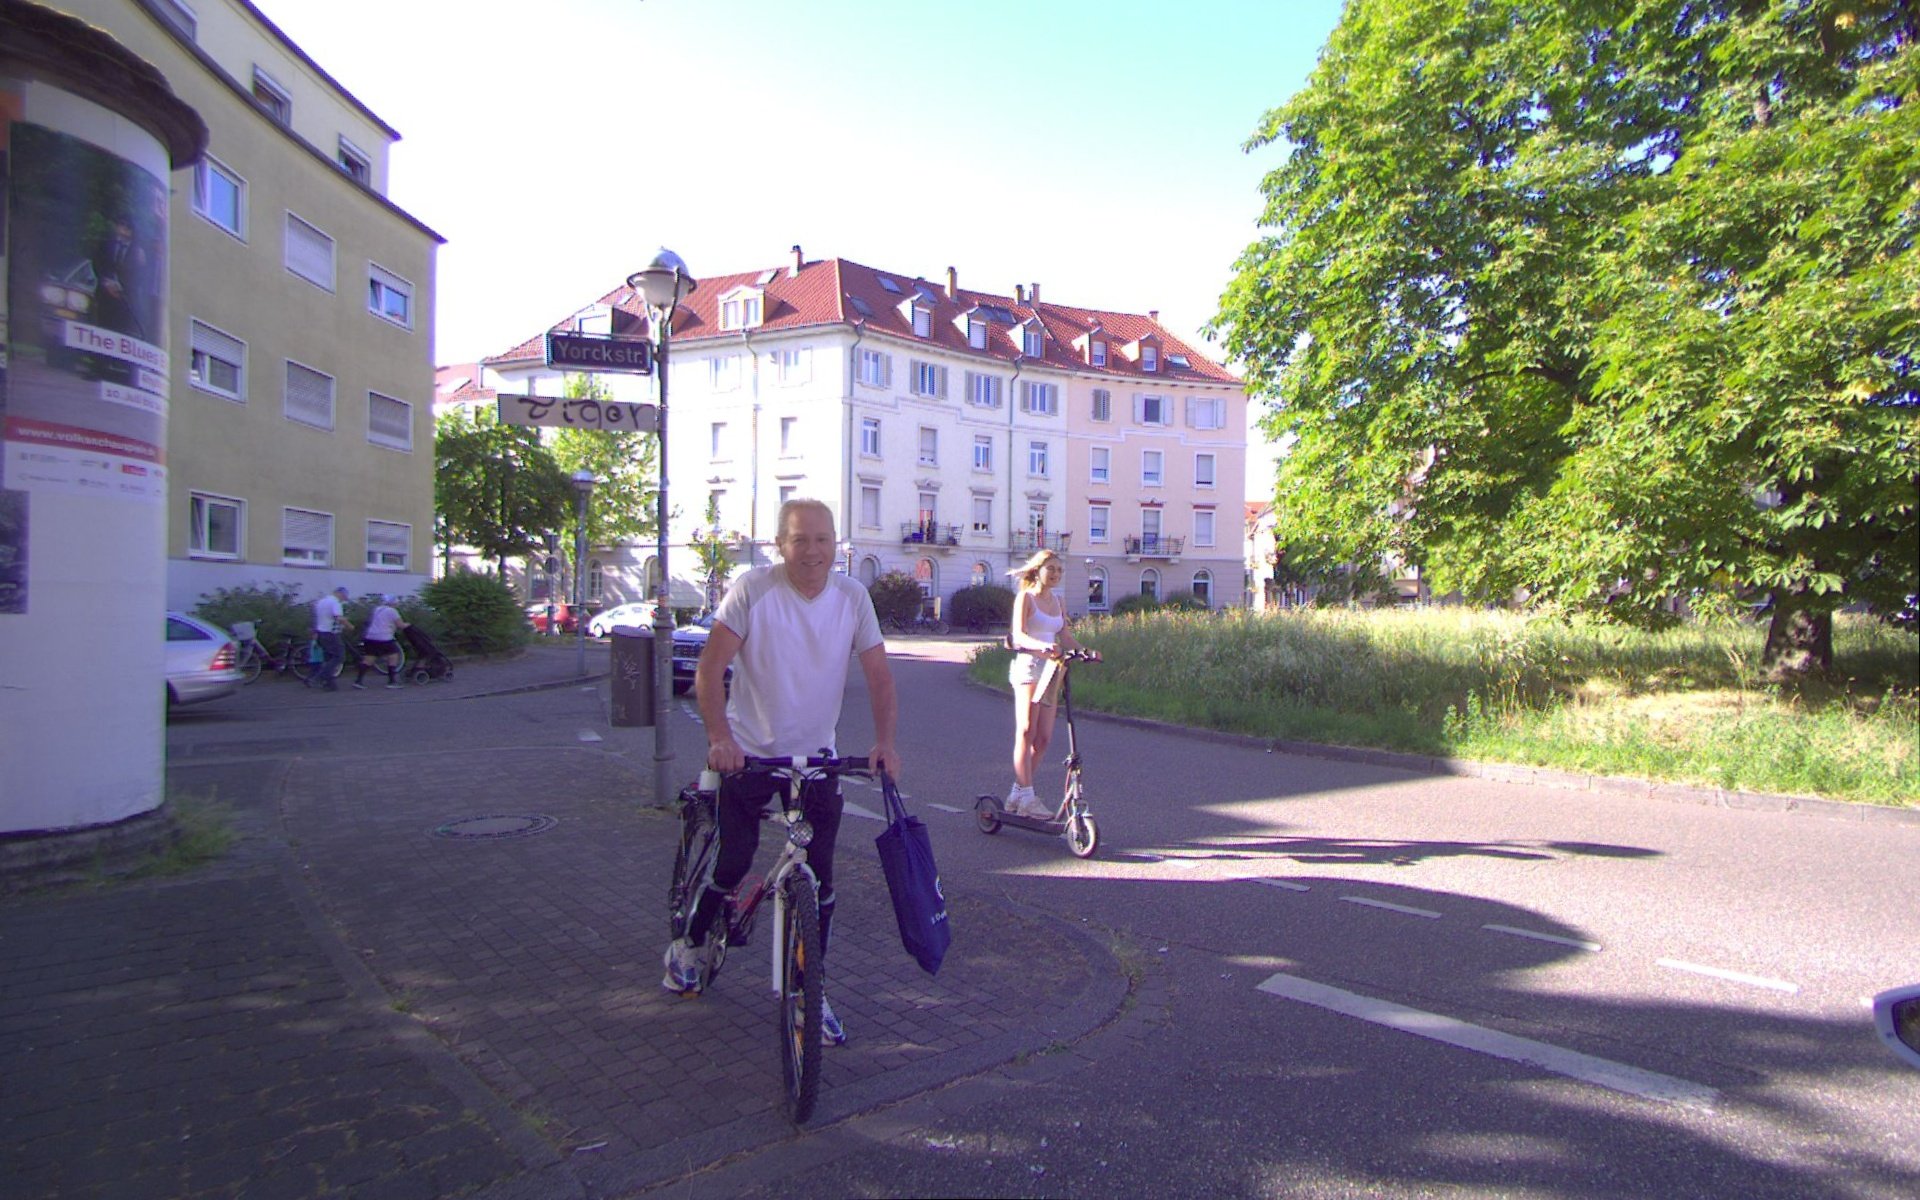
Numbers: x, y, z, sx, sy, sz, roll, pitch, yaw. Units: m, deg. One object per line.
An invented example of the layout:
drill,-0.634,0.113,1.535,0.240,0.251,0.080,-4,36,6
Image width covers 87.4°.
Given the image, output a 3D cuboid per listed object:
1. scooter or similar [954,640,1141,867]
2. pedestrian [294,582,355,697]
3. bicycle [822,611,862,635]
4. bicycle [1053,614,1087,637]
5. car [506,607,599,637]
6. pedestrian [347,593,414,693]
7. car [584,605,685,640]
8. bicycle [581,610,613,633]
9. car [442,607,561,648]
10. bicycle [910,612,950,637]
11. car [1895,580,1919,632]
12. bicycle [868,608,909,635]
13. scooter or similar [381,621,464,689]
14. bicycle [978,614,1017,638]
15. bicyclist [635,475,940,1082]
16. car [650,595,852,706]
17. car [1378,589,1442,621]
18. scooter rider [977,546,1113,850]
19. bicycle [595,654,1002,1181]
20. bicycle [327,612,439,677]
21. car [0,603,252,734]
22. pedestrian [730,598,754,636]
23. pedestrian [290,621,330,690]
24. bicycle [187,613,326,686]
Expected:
scooter or similar,0.552,0.931,6.565,0.627,1.300,1.093,0,0,-40
pedestrian,-9.891,0.598,15.642,0.545,1.716,0.607,5,3,33
bicycle,-5.434,1.063,46.183,1.770,1.122,0.498,1,0,-16
bicycle,5.597,1.289,50.928,1.663,1.103,0.499,1,2,-25
car,-18.120,0.967,44.681,3.647,1.272,1.799,0,0,22
pedestrian,-9.434,0.679,16.360,0.639,1.544,0.695,5,3,33
car,-13.960,0.940,43.043,3.923,1.431,1.799,0,0,23
bicycle,-18.940,1.096,52.390,1.767,1.157,0.570,0,0,28
car,-17.118,1.010,37.506,3.921,1.430,1.804,0,0,20
bicycle,-1.402,1.160,47.289,1.780,1.139,0.566,3,-1,-32
car,50.116,0.347,49.624,2.061,2.635,6.378,1,1,3
bicycle,-3.318,0.992,46.431,1.772,1.139,0.568,3,-1,-19
scooter or similar,-9.171,0.912,17.149,0.902,1.037,0.896,5,3,33
bicycle,1.832,1.272,49.321,1.772,1.139,0.568,3,-1,-19
bicyclist,-0.604,0.509,3.388,0.756,1.718,0.805,1,0,-31
car,-3.589,0.798,18.229,1.698,1.651,4.618,4,1,13
car,28.596,0.343,63.987,2.099,1.934,4.562,1,-1,2
scooter rider,0.553,0.601,6.562,0.620,1.856,0.624,0,0,-40
bicycle,-0.683,0.845,3.501,0.756,1.214,1.854,1,0,-31
bicycle,-10.491,0.788,18.328,0.491,1.122,1.798,0,0,27
car,-11.012,0.757,11.716,4.449,1.430,1.714,1,0,-38
pedestrian,-9.768,0.759,45.042,0.731,1.683,0.774,0,0,20
pedestrian,-10.363,0.877,16.016,0.370,1.054,0.405,5,3,33
bicycle,-11.462,0.777,16.408,0.493,1.122,1.790,0,0,42
